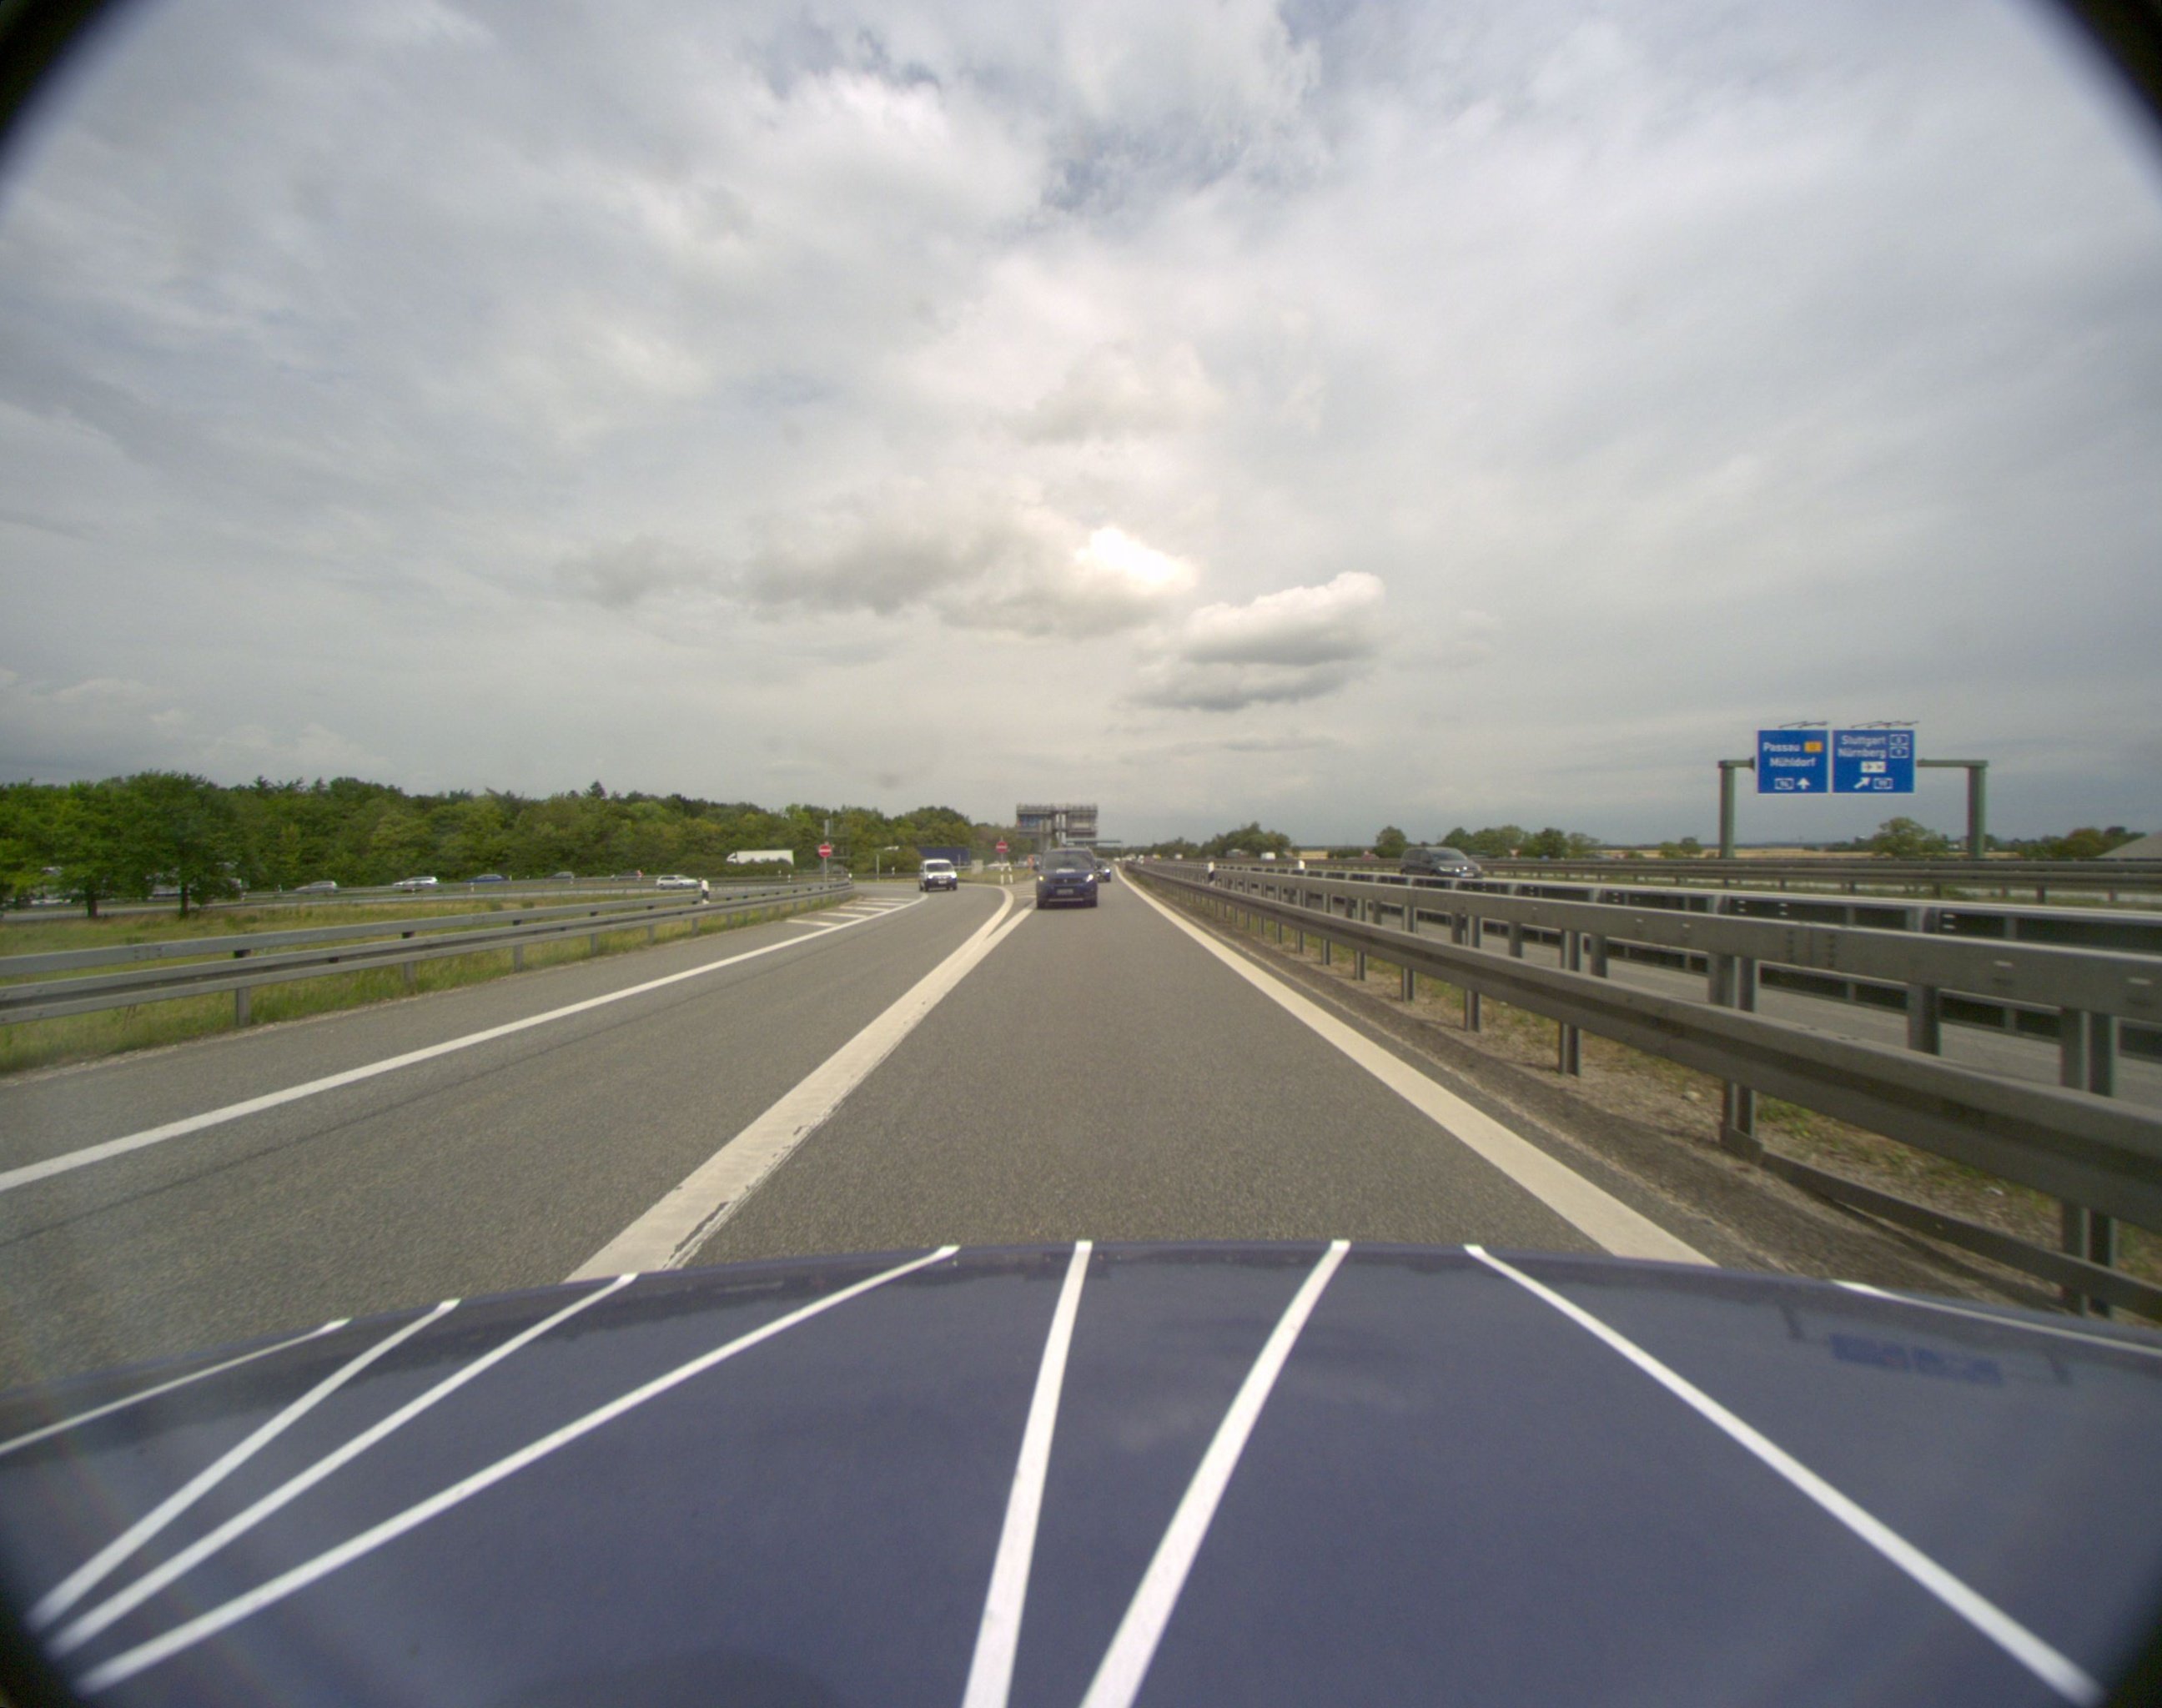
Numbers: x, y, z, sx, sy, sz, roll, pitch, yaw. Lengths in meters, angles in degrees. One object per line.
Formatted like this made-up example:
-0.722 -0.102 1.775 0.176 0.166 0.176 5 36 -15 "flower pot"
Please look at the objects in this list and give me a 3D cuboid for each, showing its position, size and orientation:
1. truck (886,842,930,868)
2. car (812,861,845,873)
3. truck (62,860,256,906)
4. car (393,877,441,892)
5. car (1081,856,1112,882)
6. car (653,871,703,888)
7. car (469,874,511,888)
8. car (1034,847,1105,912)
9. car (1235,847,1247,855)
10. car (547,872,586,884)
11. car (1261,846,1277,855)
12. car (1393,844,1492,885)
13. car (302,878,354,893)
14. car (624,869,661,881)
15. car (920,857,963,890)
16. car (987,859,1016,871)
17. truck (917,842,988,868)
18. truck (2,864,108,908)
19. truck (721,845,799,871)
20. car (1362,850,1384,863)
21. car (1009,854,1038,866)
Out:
-27.067 0.183 118.736 5.940 3.780 2.894 -2 0 -44 "truck"
-35.136 1.842 105.822 4.005 1.540 1.734 -2 0 -29 "car"
-99.189 3.027 82.211 13.037 4.217 2.689 -2 0 -33 "truck"
-81.105 3.735 92.898 4.005 1.548 1.795 -2 0 -28 "car"
0.913 0.875 46.920 1.747 1.380 3.999 -2 1 0 "car"
-42.102 2.651 79.395 4.475 1.532 1.728 -2 0 14 "car"
-74.333 3.417 95.623 4.005 1.484 1.555 -2 0 -29 "car"
-0.340 0.732 23.858 1.999 1.783 4.000 -2 0 0 "car"
39.039 -0.751 185.677 1.831 1.849 3.998 -2 0 -4 "car"
-67.250 3.114 99.396 4.004 1.442 1.556 -2 0 -24 "car"
40.306 -0.810 163.316 2.107 1.849 4.749 -2 0 -1 "car"
15.138 0.397 32.125 1.886 1.537 4.614 -2 0 -1 "car"
-88.388 3.629 89.260 4.005 1.471 1.700 -3 0 -29 "car"
-58.953 2.776 102.154 4.004 1.392 1.556 -2 0 -21 "car"
-7.947 1.070 43.087 1.864 1.735 3.994 -3 0 -17 "car"
-13.661 1.857 130.536 4.506 1.774 1.994 -2 0 -45 "car"
-20.959 0.080 124.630 11.815 3.836 2.839 -2 0 -44 "truck"
-105.457 3.254 78.232 5.805 4.154 2.688 -3 0 -32 "truck"
-45.540 0.568 107.999 9.887 3.383 2.690 -2 0 -24 "truck"
43.848 0.411 114.022 1.802 1.849 4.000 -2 0 1 "car"
-10.322 1.025 137.683 1.995 2.002 5.965 -2 0 33 "car"
